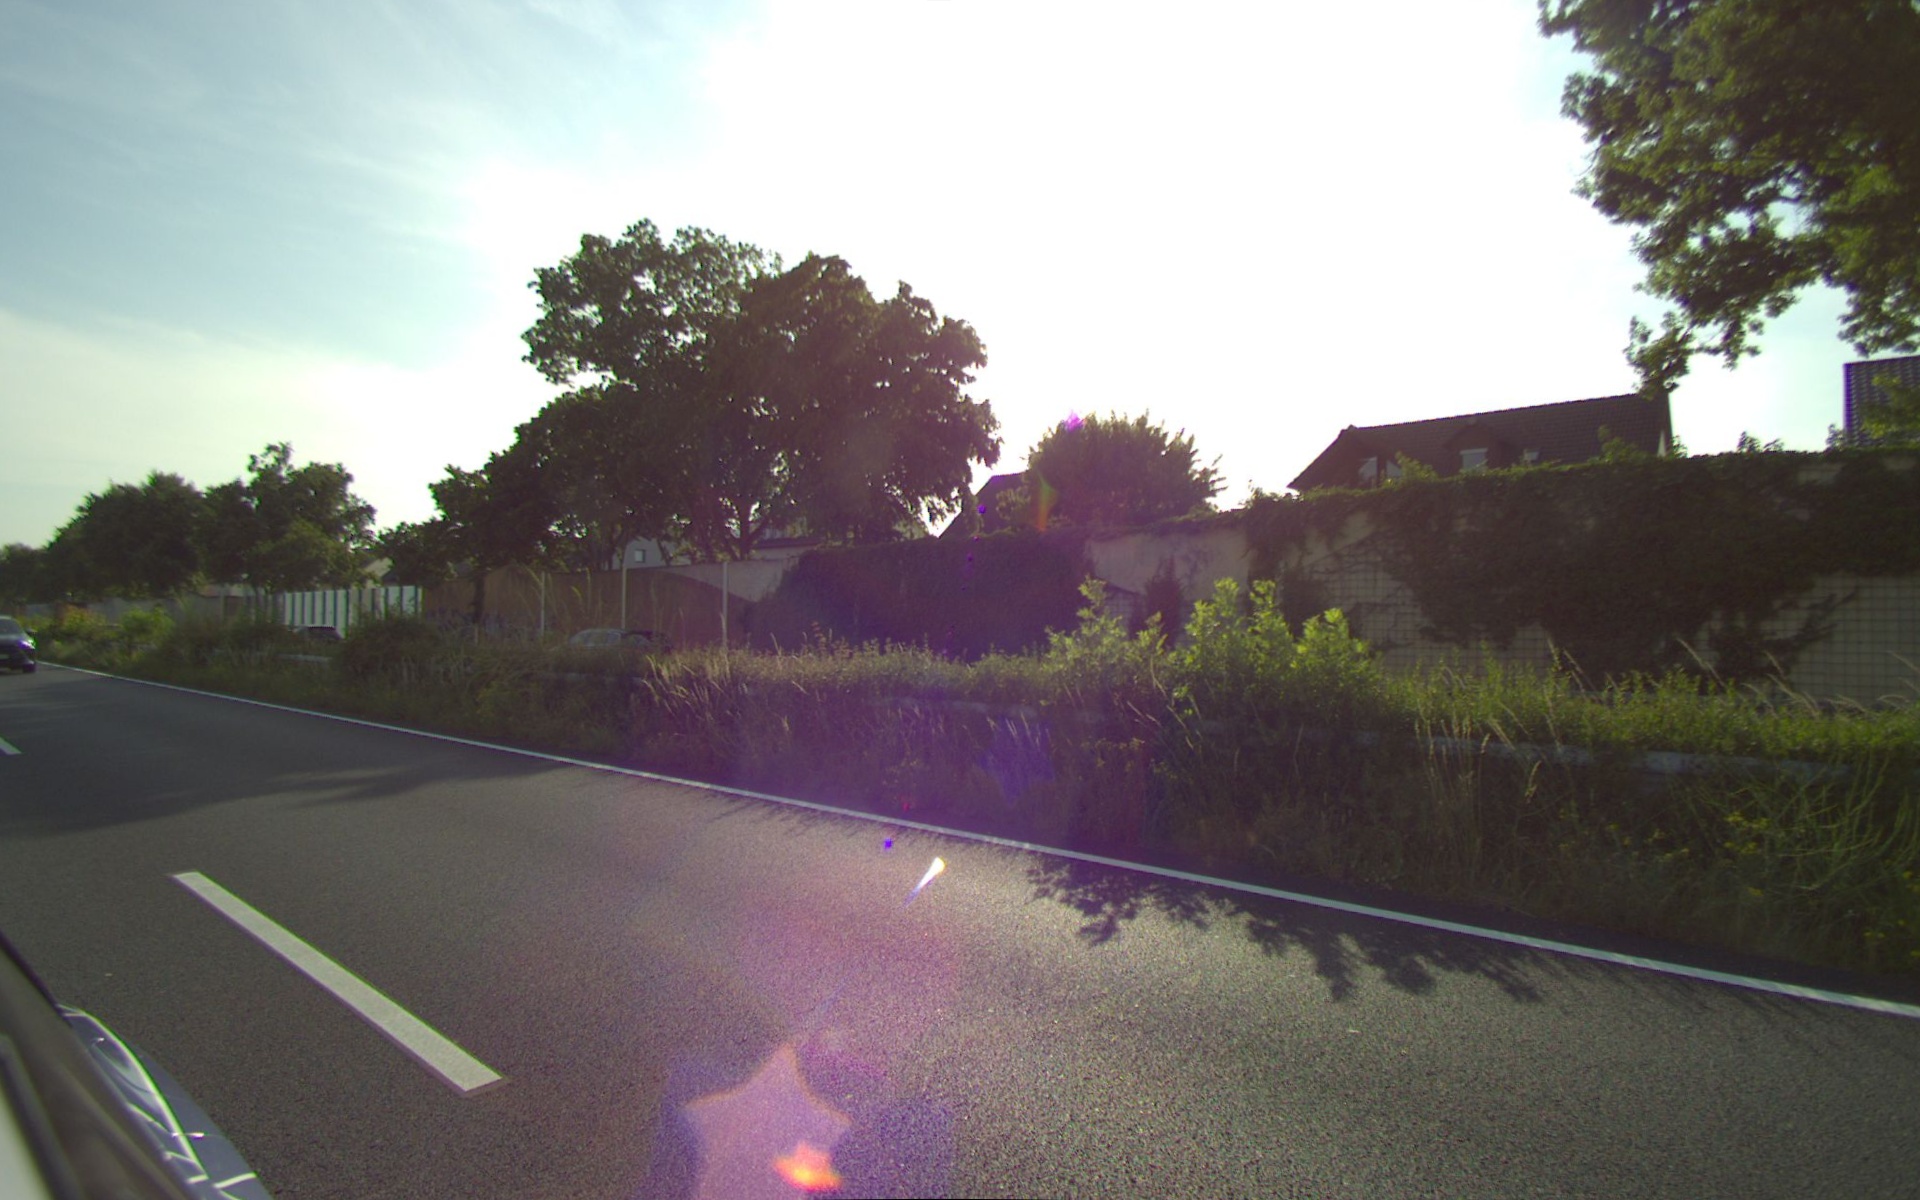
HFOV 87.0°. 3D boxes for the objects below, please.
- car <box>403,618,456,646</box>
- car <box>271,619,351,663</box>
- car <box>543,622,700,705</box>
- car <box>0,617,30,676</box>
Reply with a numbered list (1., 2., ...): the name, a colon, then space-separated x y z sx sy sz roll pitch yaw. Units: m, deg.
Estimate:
1. car: -38.352 2.282 73.122 4.912 1.933 1.767 -1 0 42
2. car: -28.203 1.728 43.928 3.998 1.741 1.917 -1 0 41
3. car: -8.685 1.533 25.820 4.363 1.869 1.816 -1 0 41
4. car: -27.363 1.281 28.180 4.246 1.536 1.798 -1 0 42
